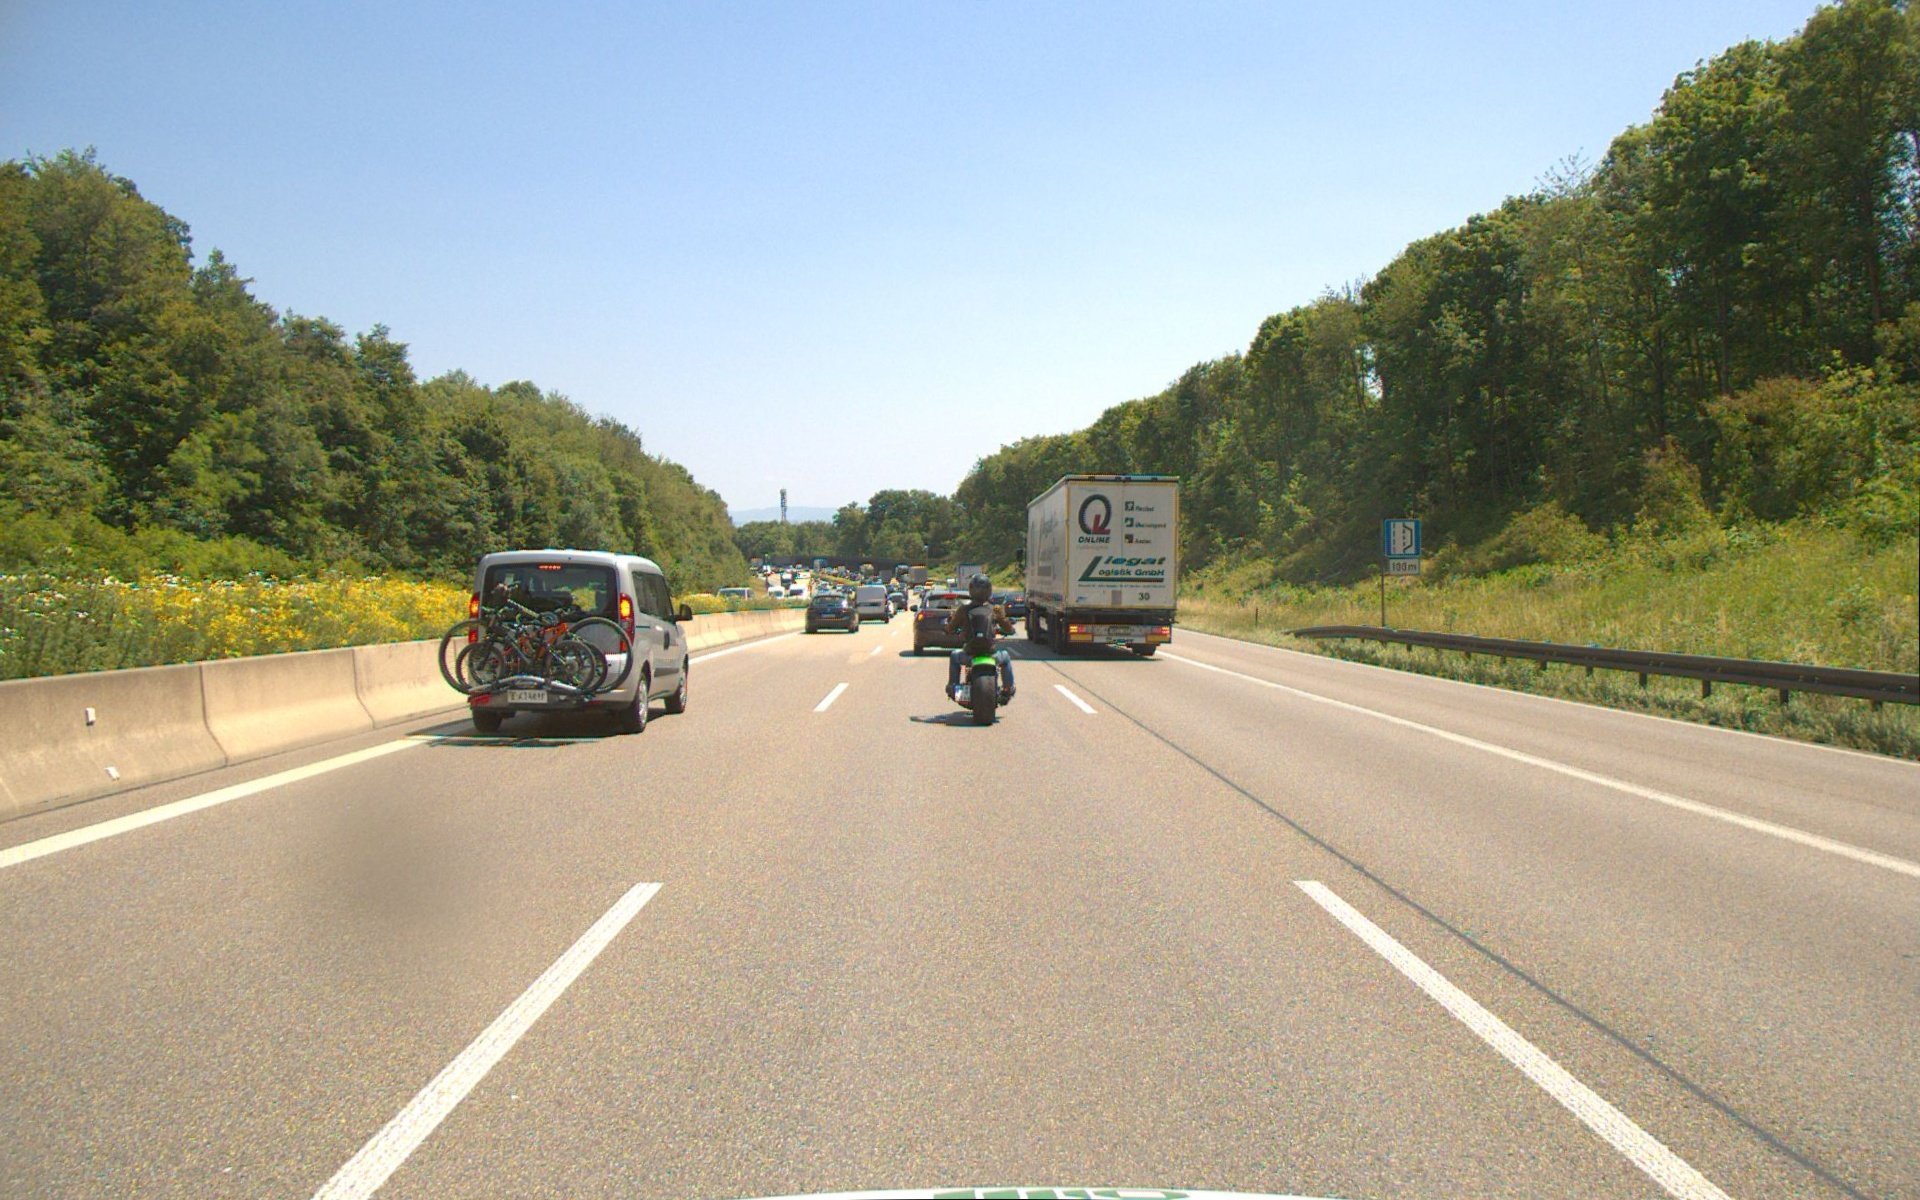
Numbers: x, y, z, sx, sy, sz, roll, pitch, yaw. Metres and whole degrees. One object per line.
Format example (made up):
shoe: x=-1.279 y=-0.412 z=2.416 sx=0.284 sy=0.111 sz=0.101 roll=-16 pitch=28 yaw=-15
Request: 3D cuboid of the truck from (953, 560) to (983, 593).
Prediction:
truck: x=0.848 y=-2.610 z=178.789 sx=3.005 sy=3.404 sz=9.651 roll=2 pitch=1 yaw=-1

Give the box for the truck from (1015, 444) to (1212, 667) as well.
truck: x=3.659 y=-1.179 z=45.097 sx=3.315 sy=4.799 sz=17.707 roll=1 pitch=1 yaw=-1

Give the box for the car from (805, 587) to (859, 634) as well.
car: x=-4.644 y=0.349 z=60.582 sx=1.722 sy=1.570 sz=4.394 roll=1 pitch=2 yaw=-1

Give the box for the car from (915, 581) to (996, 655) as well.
car: x=-0.141 y=0.381 z=39.502 sx=1.808 sy=1.584 sz=4.439 roll=1 pitch=2 yaw=-1

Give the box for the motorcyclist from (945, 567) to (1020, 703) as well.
motorcyclist: x=0.253 y=0.389 z=19.132 sx=0.838 sy=1.541 sz=0.914 roll=0 pitch=1 yaw=0

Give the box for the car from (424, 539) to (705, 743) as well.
car: x=-4.098 y=0.362 z=18.125 sx=1.860 sy=1.880 sz=5.482 roll=1 pitch=0 yaw=-1

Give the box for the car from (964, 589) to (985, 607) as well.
car: x=1.351 y=-0.207 z=157.364 sx=1.794 sy=1.585 sz=4.119 roll=1 pitch=2 yaw=-1

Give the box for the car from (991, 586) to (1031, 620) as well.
car: x=2.555 y=0.132 z=83.352 sx=1.794 sy=1.585 sz=4.119 roll=1 pitch=2 yaw=-1

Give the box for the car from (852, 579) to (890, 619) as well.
car: x=-4.476 y=-0.076 z=83.451 sx=1.794 sy=1.842 sz=4.119 roll=1 pitch=2 yaw=-1

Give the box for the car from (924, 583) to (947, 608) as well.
car: x=-1.976 y=-0.400 z=132.638 sx=1.794 sy=1.842 sz=4.119 roll=1 pitch=2 yaw=-1

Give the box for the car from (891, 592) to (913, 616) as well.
car: x=-4.881 y=0.343 z=140.210 sx=1.794 sy=1.842 sz=4.119 roll=1 pitch=2 yaw=-1

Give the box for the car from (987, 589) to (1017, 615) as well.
car: x=2.862 y=0.121 z=113.577 sx=1.794 sy=1.585 sz=4.119 roll=1 pitch=2 yaw=-1

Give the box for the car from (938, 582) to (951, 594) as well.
car: x=-2.188 y=-1.676 z=233.342 sx=1.794 sy=1.585 sz=4.119 roll=1 pitch=2 yaw=-1

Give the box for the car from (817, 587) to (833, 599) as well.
car: x=-19.470 y=-0.972 z=238.969 sx=1.872 sy=1.719 sz=4.832 roll=2 pitch=0 yaw=0

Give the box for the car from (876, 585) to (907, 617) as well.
car: x=-4.255 y=0.013 z=102.867 sx=1.794 sy=1.842 sz=4.119 roll=1 pitch=2 yaw=-1

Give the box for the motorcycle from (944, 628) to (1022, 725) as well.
motorcycle: x=0.252 y=0.855 z=19.143 sx=0.844 sy=0.999 sz=2.131 roll=0 pitch=1 yaw=0
